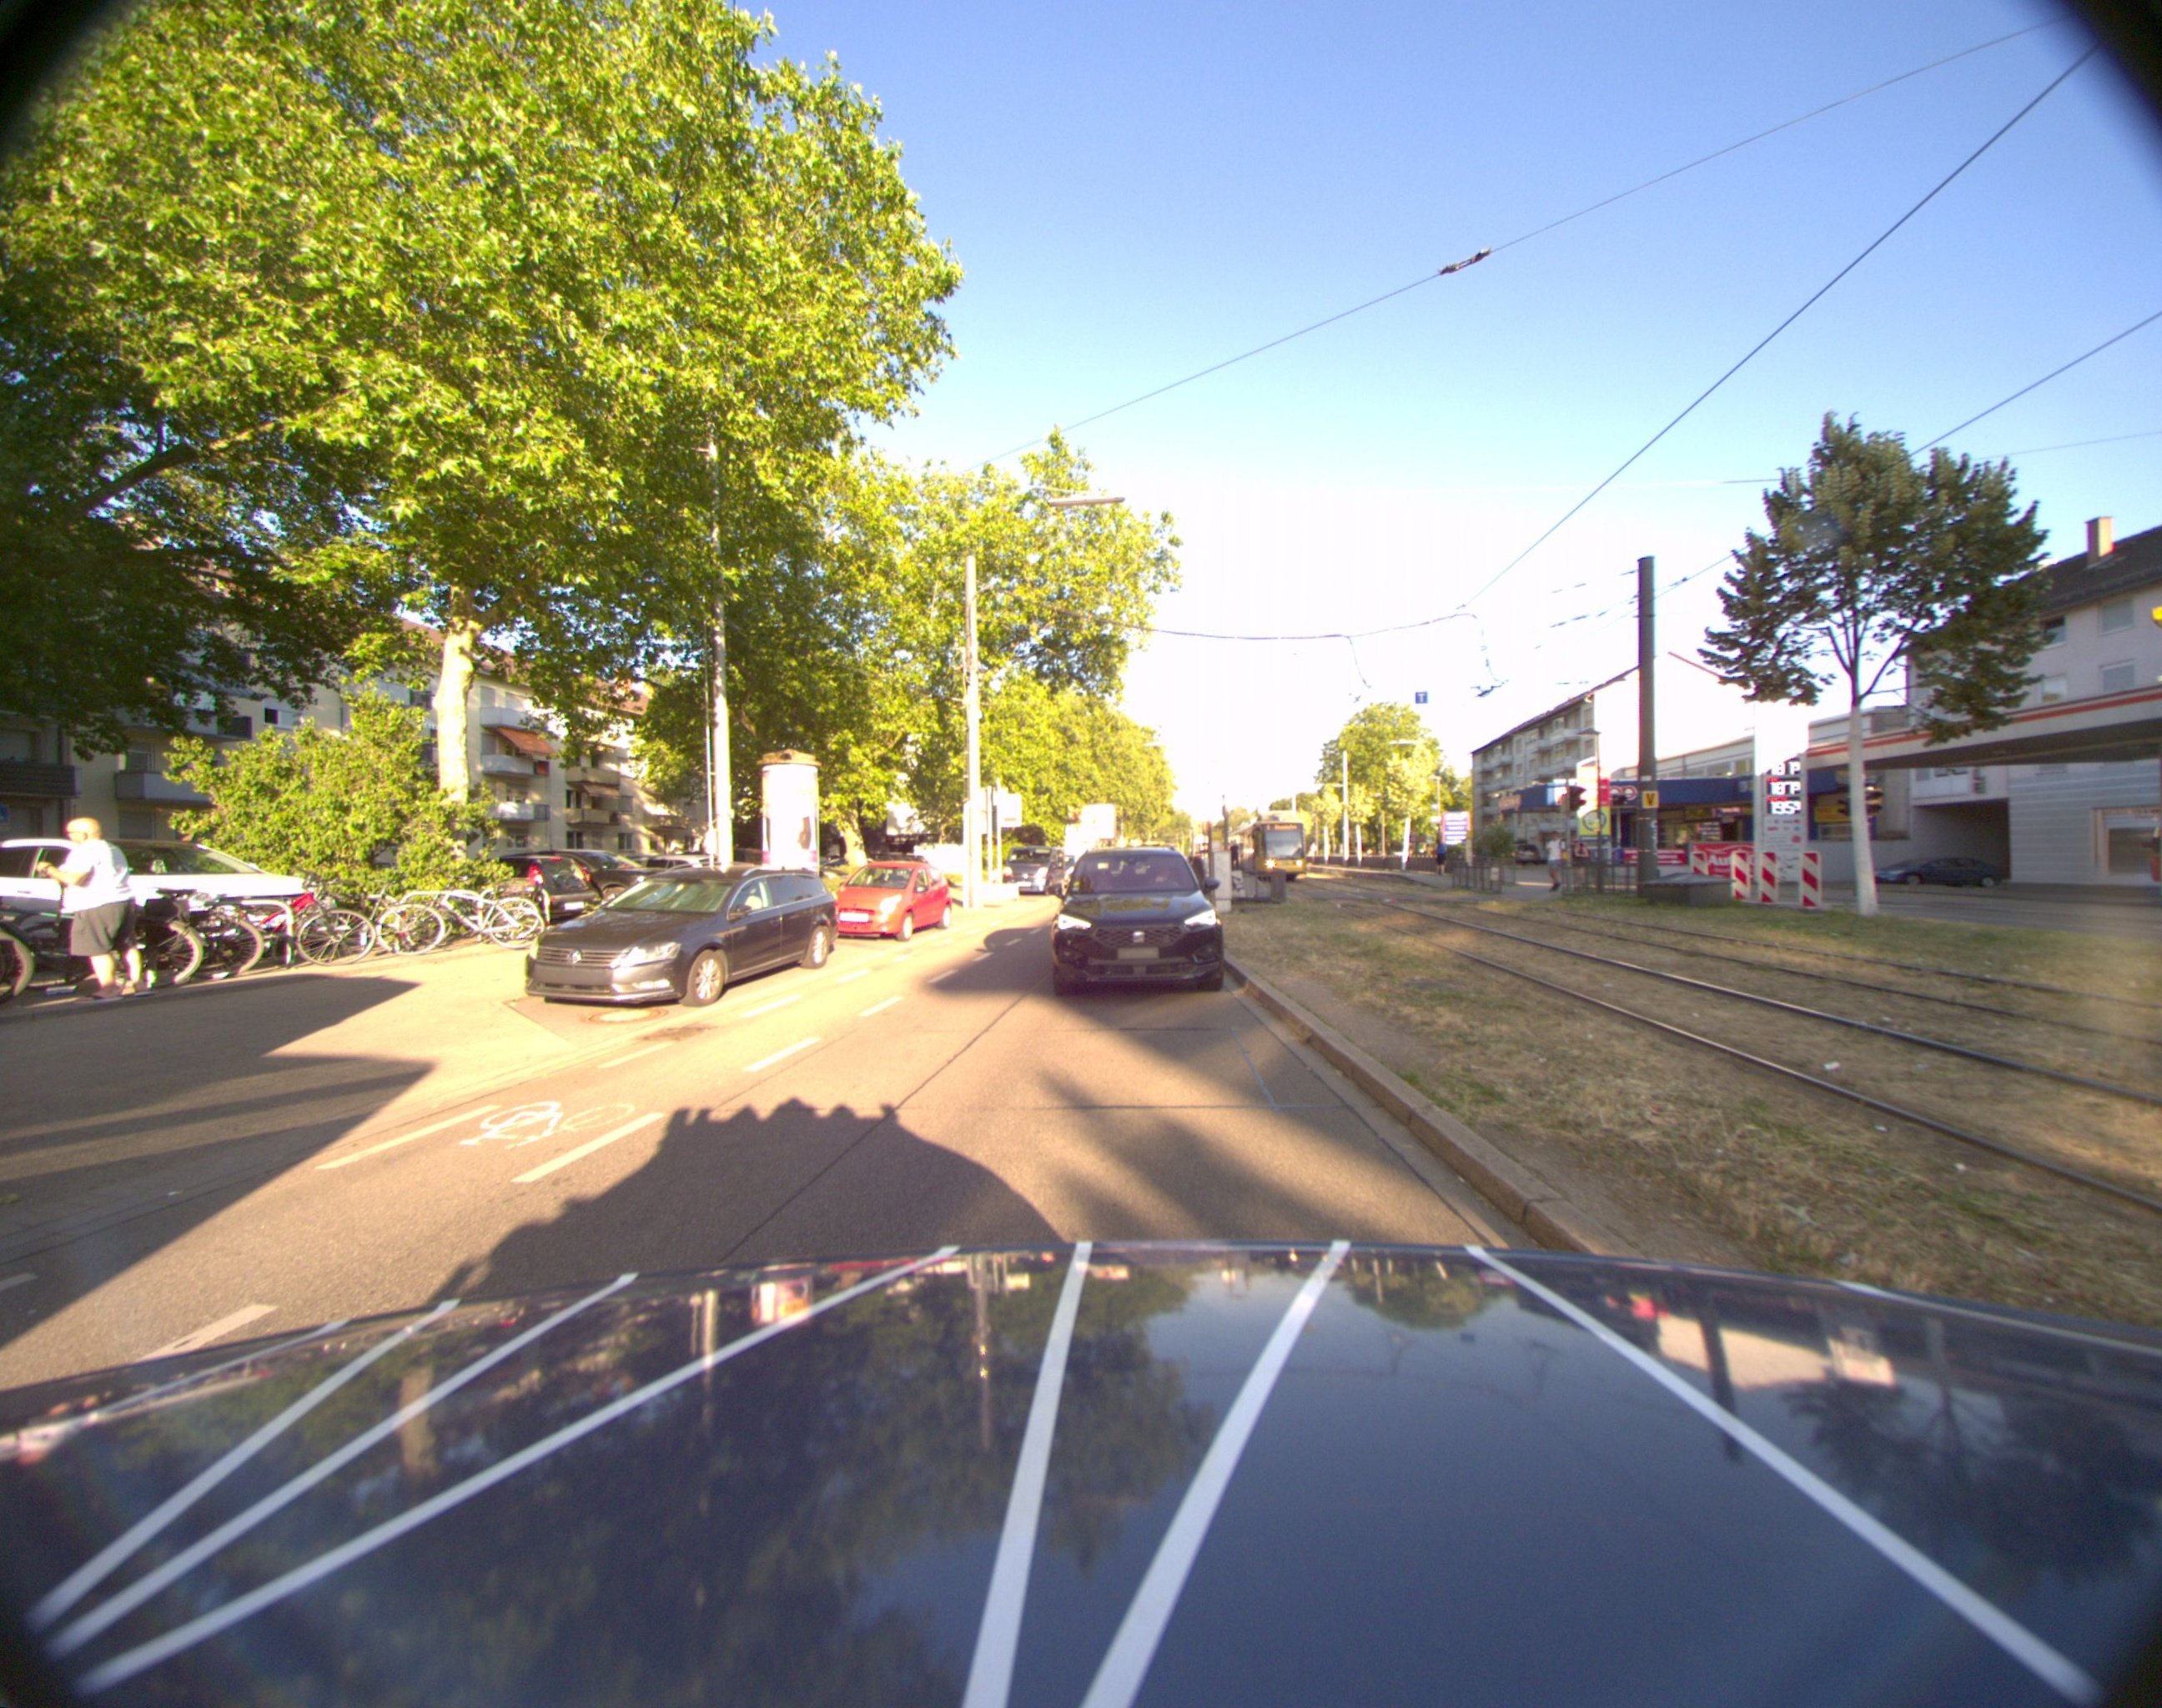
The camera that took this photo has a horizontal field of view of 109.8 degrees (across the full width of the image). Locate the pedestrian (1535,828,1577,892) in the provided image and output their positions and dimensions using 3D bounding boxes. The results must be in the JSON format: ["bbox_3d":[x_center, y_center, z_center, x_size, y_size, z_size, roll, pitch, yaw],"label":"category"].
[{"bbox_3d":[14.587,0.189,23.364,0.859,1.921,0.755,-1,1,6],"label":"pedestrian"}]

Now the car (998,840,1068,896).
[{"bbox_3d":[-1.829,0.513,30.626,1.888,2.066,4.565,-1,0,8],"label":"car"}]

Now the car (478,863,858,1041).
[{"bbox_3d":[-4.634,0.947,9.518,1.700,1.522,4.655,2,1,8],"label":"car"}]

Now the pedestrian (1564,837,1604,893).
[{"bbox_3d":[15.954,0.331,24.124,0.754,1.737,0.861,-1,1,5],"label":"pedestrian"}]

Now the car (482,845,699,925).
[{"bbox_3d":[-11.645,0.713,18.201,4.029,1.591,1.857,-4,0,7],"label":"car"}]

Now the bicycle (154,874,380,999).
[{"bbox_3d":[-9.235,0.892,8.714,1.585,1.220,0.650,-3,1,-30],"label":"bicycle"}]

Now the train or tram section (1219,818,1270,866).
[{"bbox_3d":[12.987,-0.979,61.153,3.041,3.497,10.101,0,1,7],"label":"train or tram section"}]

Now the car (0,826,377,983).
[{"bbox_3d":[-12.430,0.660,10.031,4.627,1.699,2.001,-4,0,7],"label":"car"}]

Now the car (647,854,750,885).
[{"bbox_3d":[-19.659,0.794,39.191,4.290,1.487,2.001,-1,1,5],"label":"car"}]

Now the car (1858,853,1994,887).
[{"bbox_3d":[38.475,0.719,34.694,3.801,1.514,1.819,-1,1,11],"label":"car"}]

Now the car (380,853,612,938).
[{"bbox_3d":[-12.075,0.825,15.813,3.504,1.474,1.774,-4,0,7],"label":"car"}]

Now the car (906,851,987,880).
[{"bbox_3d":[-7.984,0.661,45.258,4.290,1.487,2.000,-3,1,5],"label":"car"}]

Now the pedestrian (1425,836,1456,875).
[{"bbox_3d":[15.757,0.076,33.301,0.936,1.644,0.926,-3,0,8],"label":"pedestrian"}]

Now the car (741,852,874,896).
[{"bbox_3d":[-9.753,0.711,27.245,4.119,1.486,1.804,0,1,9],"label":"car"}]

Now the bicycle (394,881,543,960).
[{"bbox_3d":[-8.807,0.935,11.013,1.585,1.008,0.649,-1,1,-30],"label":"bicycle"}]

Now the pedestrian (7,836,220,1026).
[{"bbox_3d":[-8.999,0.671,7.119,0.660,1.627,0.990,3,0,1],"label":"pedestrian"}]

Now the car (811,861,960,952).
[{"bbox_3d":[-3.754,0.946,15.247,1.572,1.486,3.628,2,1,8],"label":"car"}]

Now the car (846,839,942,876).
[{"bbox_3d":[-9.125,0.158,37.191,4.119,1.541,1.804,-3,0,9],"label":"car"}]

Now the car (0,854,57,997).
[{"bbox_3d":[-12.995,0.785,7.269,4.022,1.424,2.000,-1,3,7],"label":"car"}]

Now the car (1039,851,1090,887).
[{"bbox_3d":[-0.747,0.686,36.935,1.799,1.621,4.002,0,0,8],"label":"car"}]

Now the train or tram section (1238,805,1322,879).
[{"bbox_3d":[10.477,-0.634,41.088,3.041,3.497,10.101,0,1,7],"label":"train or tram section"}]

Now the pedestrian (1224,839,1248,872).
[{"bbox_3d":[7.460,0.066,36.570,0.918,1.541,0.789,-2,1,0],"label":"pedestrian"}]

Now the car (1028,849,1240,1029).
[{"bbox_3d":[0.620,0.800,9.157,1.910,1.606,4.086,-3,0,4],"label":"car"}]

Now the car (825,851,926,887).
[{"bbox_3d":[-9.467,0.685,35.135,4.119,1.590,1.804,0,1,9],"label":"car"}]

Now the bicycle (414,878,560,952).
[{"bbox_3d":[-9.064,0.898,11.684,1.682,1.008,0.649,-1,1,-30],"label":"bicycle"}]

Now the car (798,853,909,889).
[{"bbox_3d":[-9.681,0.715,32.457,4.119,1.486,1.804,0,1,9],"label":"car"}]

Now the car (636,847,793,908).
[{"bbox_3d":[-11.035,0.678,23.029,3.847,1.622,1.857,-3,0,9],"label":"car"}]

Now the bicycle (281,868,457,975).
[{"bbox_3d":[-9.053,0.815,9.754,1.586,1.219,0.645,-1,1,-39],"label":"bicycle"}]

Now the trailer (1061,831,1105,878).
[{"bbox_3d":[0.176,0.009,43.770,1.888,2.573,4.653,-1,0,8],"label":"trailer"}]

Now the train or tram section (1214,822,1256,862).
[{"bbox_3d":[14.252,-1.150,71.144,3.041,3.497,10.101,0,1,7],"label":"train or tram section"}]

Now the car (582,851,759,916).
[{"bbox_3d":[-11.161,0.776,20.785,3.847,1.486,1.857,-4,0,9],"label":"car"}]

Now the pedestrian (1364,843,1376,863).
[{"bbox_3d":[27.906,-0.082,73.463,0.754,1.871,1.001,-4,0,7],"label":"pedestrian"}]

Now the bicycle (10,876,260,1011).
[{"bbox_3d":[-9.533,0.860,7.730,1.523,1.219,0.402,-1,1,-32],"label":"bicycle"}]

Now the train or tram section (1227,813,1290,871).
[{"bbox_3d":[11.721,-0.802,51.118,3.041,3.497,10.101,0,1,7],"label":"train or tram section"}]
